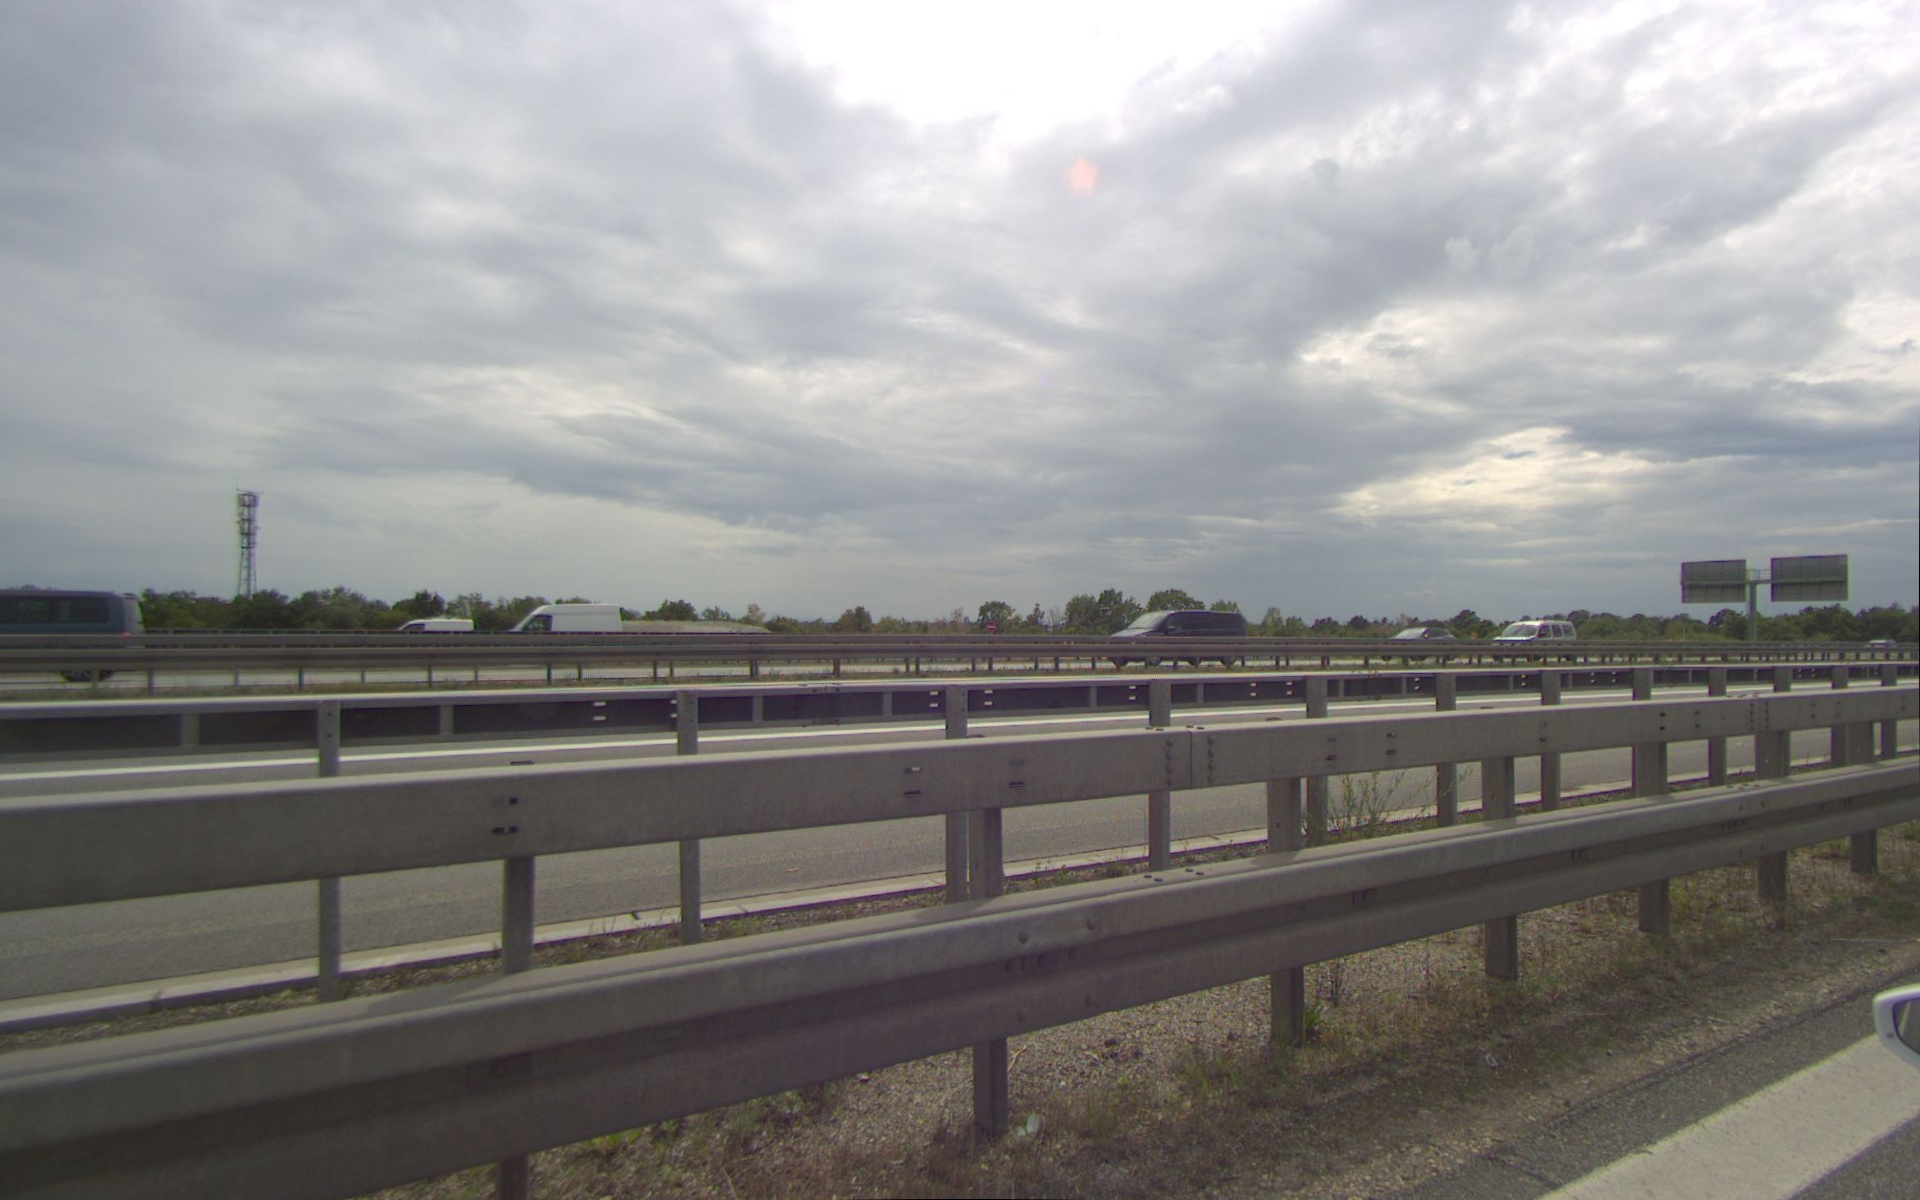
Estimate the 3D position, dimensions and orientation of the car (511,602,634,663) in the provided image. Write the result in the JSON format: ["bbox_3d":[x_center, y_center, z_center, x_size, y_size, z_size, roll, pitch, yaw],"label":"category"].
[{"bbox_3d":[-15.815,1.274,41.024,4.438,2.337,1.984,1,1,-31],"label":"car"}]

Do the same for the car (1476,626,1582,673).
[{"bbox_3d":[25.132,2.158,44.343,4.768,1.818,1.900,1,3,-31],"label":"car"}]

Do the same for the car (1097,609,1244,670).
[{"bbox_3d":[7.108,1.322,33.835,4.841,1.832,1.734,2,2,-29],"label":"car"}]

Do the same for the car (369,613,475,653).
[{"bbox_3d":[-22.728,1.405,42.502,3.865,1.516,1.657,2,3,-31],"label":"car"}]

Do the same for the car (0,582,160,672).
[{"bbox_3d":[-20.281,0.550,21.921,4.173,1.840,1.897,1,2,-31],"label":"car"}]
